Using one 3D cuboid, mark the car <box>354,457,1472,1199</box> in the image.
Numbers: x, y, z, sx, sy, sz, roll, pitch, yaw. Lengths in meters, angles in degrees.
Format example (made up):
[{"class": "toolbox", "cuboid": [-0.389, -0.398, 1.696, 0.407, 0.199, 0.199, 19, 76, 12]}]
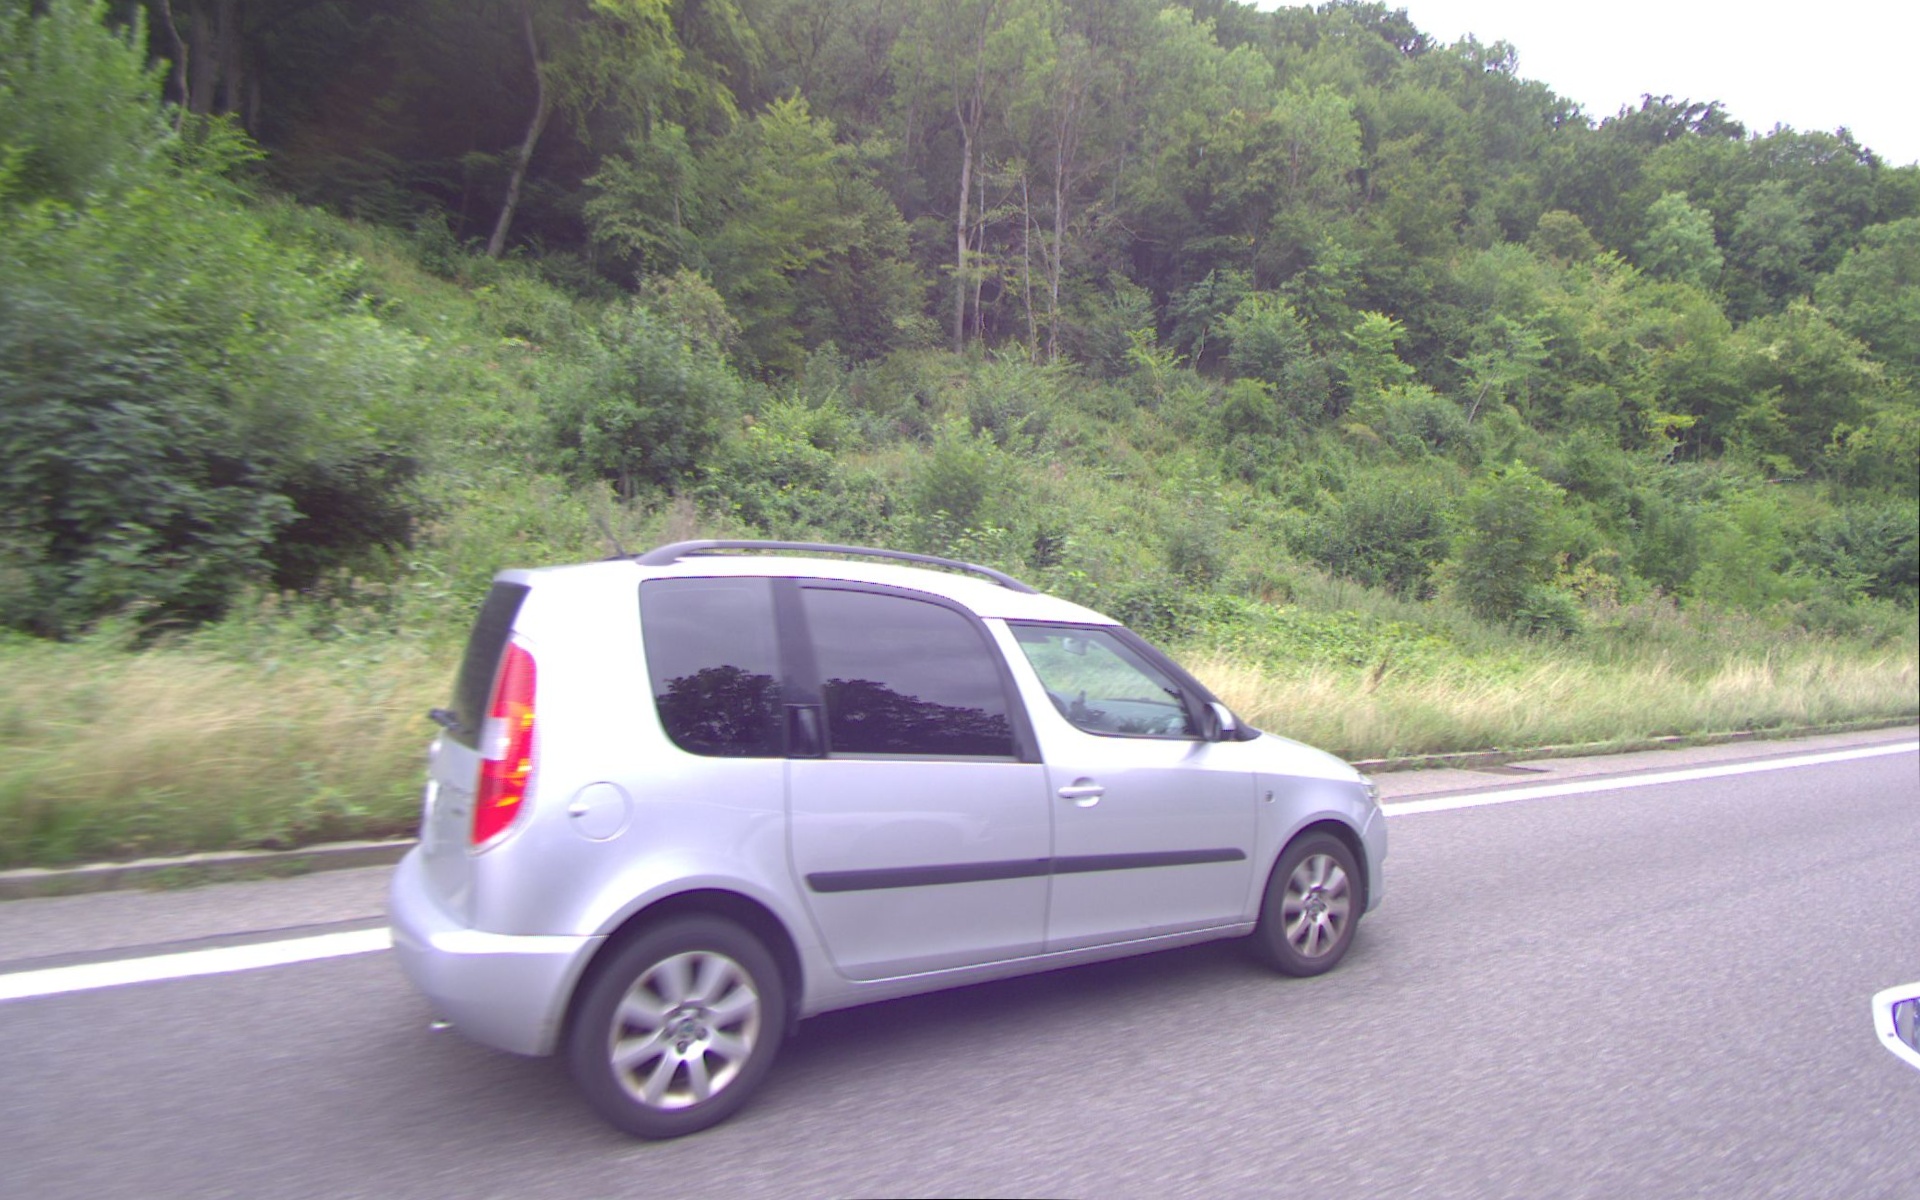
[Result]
[{"class": "car", "cuboid": [0.062, 0.607, 4.105, 4.295, 1.749, 1.626, 2, -1, -31]}]
